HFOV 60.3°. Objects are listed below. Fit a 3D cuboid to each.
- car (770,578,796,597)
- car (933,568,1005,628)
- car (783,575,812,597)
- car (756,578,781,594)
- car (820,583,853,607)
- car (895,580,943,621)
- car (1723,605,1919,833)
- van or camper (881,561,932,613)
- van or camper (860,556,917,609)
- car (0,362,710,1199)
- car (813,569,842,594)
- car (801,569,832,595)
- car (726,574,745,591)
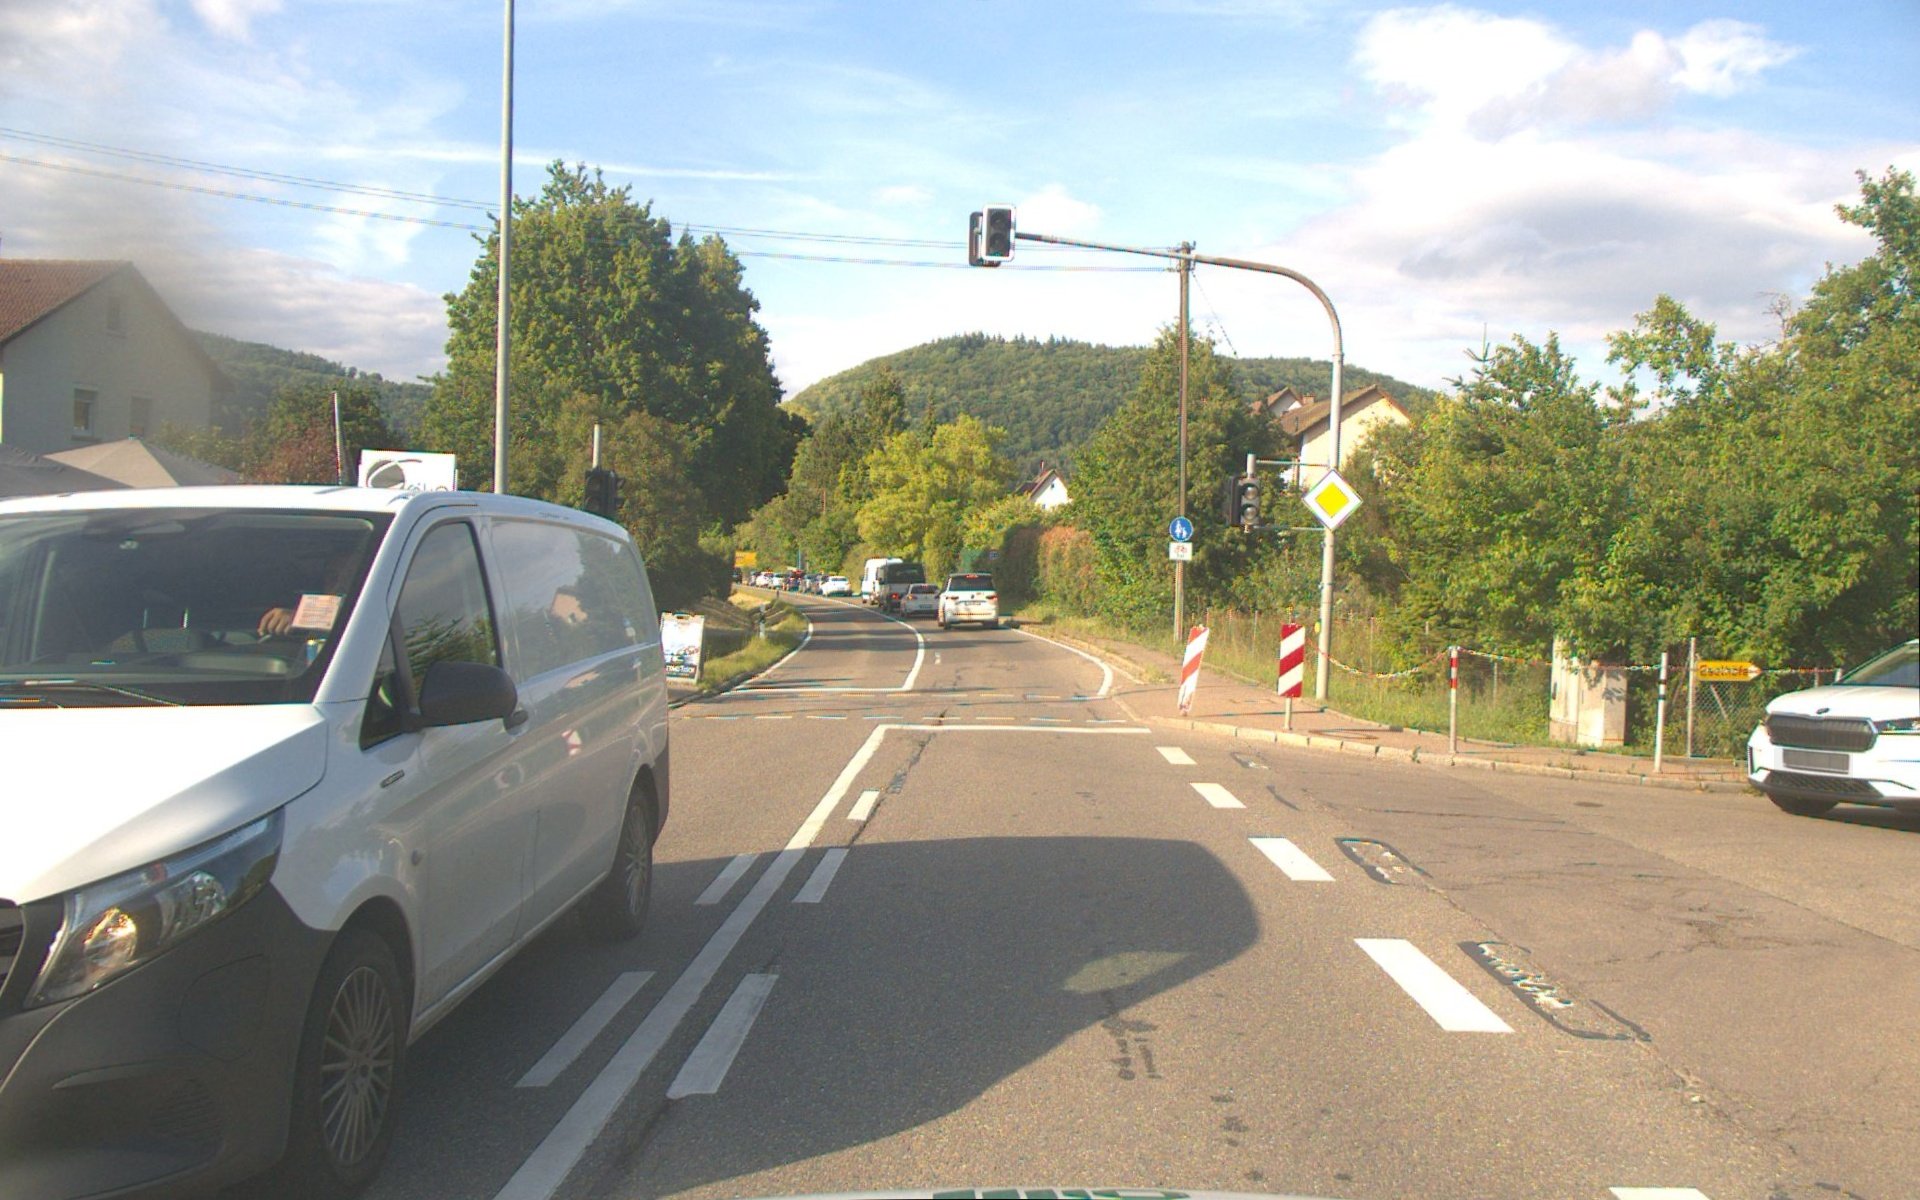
[{"bbox_3d":[-15.881,-1.100,148.349,1.908,1.713,3.988,0,0,-12],"label":"car"},{"bbox_3d":[0.276,-0.102,58.101,1.955,1.909,4.865,2,1,-6],"label":"car"},{"bbox_3d":[-13.752,-1.189,139.771,2.005,1.713,3.989,1,1,-12],"label":"car"},{"bbox_3d":[-18.223,-1.329,157.341,1.909,1.449,3.986,0,1,-14],"label":"car"},{"bbox_3d":[-8.772,-0.375,117.493,1.788,1.579,3.988,-1,2,-13],"label":"car"},{"bbox_3d":[-1.807,-0.019,71.867,1.954,1.713,3.998,0,1,-3],"label":"car"},{"bbox_3d":[8.802,0.980,13.879,4.498,1.638,1.859,3,0,-25],"label":"car"},{"bbox_3d":[-2.647,-0.638,80.801,2.137,2.426,5.364,0,1,-5],"label":"van or camper"},{"bbox_3d":[-4.167,-1.011,95.601,2.372,2.955,6.114,0,1,-11],"label":"van or camper"},{"bbox_3d":[-2.317,0.471,5.864,1.952,1.937,5.254,-1,1,1],"label":"car"},{"bbox_3d":[-9.994,-1.435,124.434,1.764,1.825,3.989,0,1,-11],"label":"car"},{"bbox_3d":[-11.420,-1.464,131.591,1.959,2.049,3.987,0,1,-13],"label":"car"},{"bbox_3d":[-24.782,-1.910,182.460,1.741,1.814,3.988,0,1,-12],"label":"car"}]
